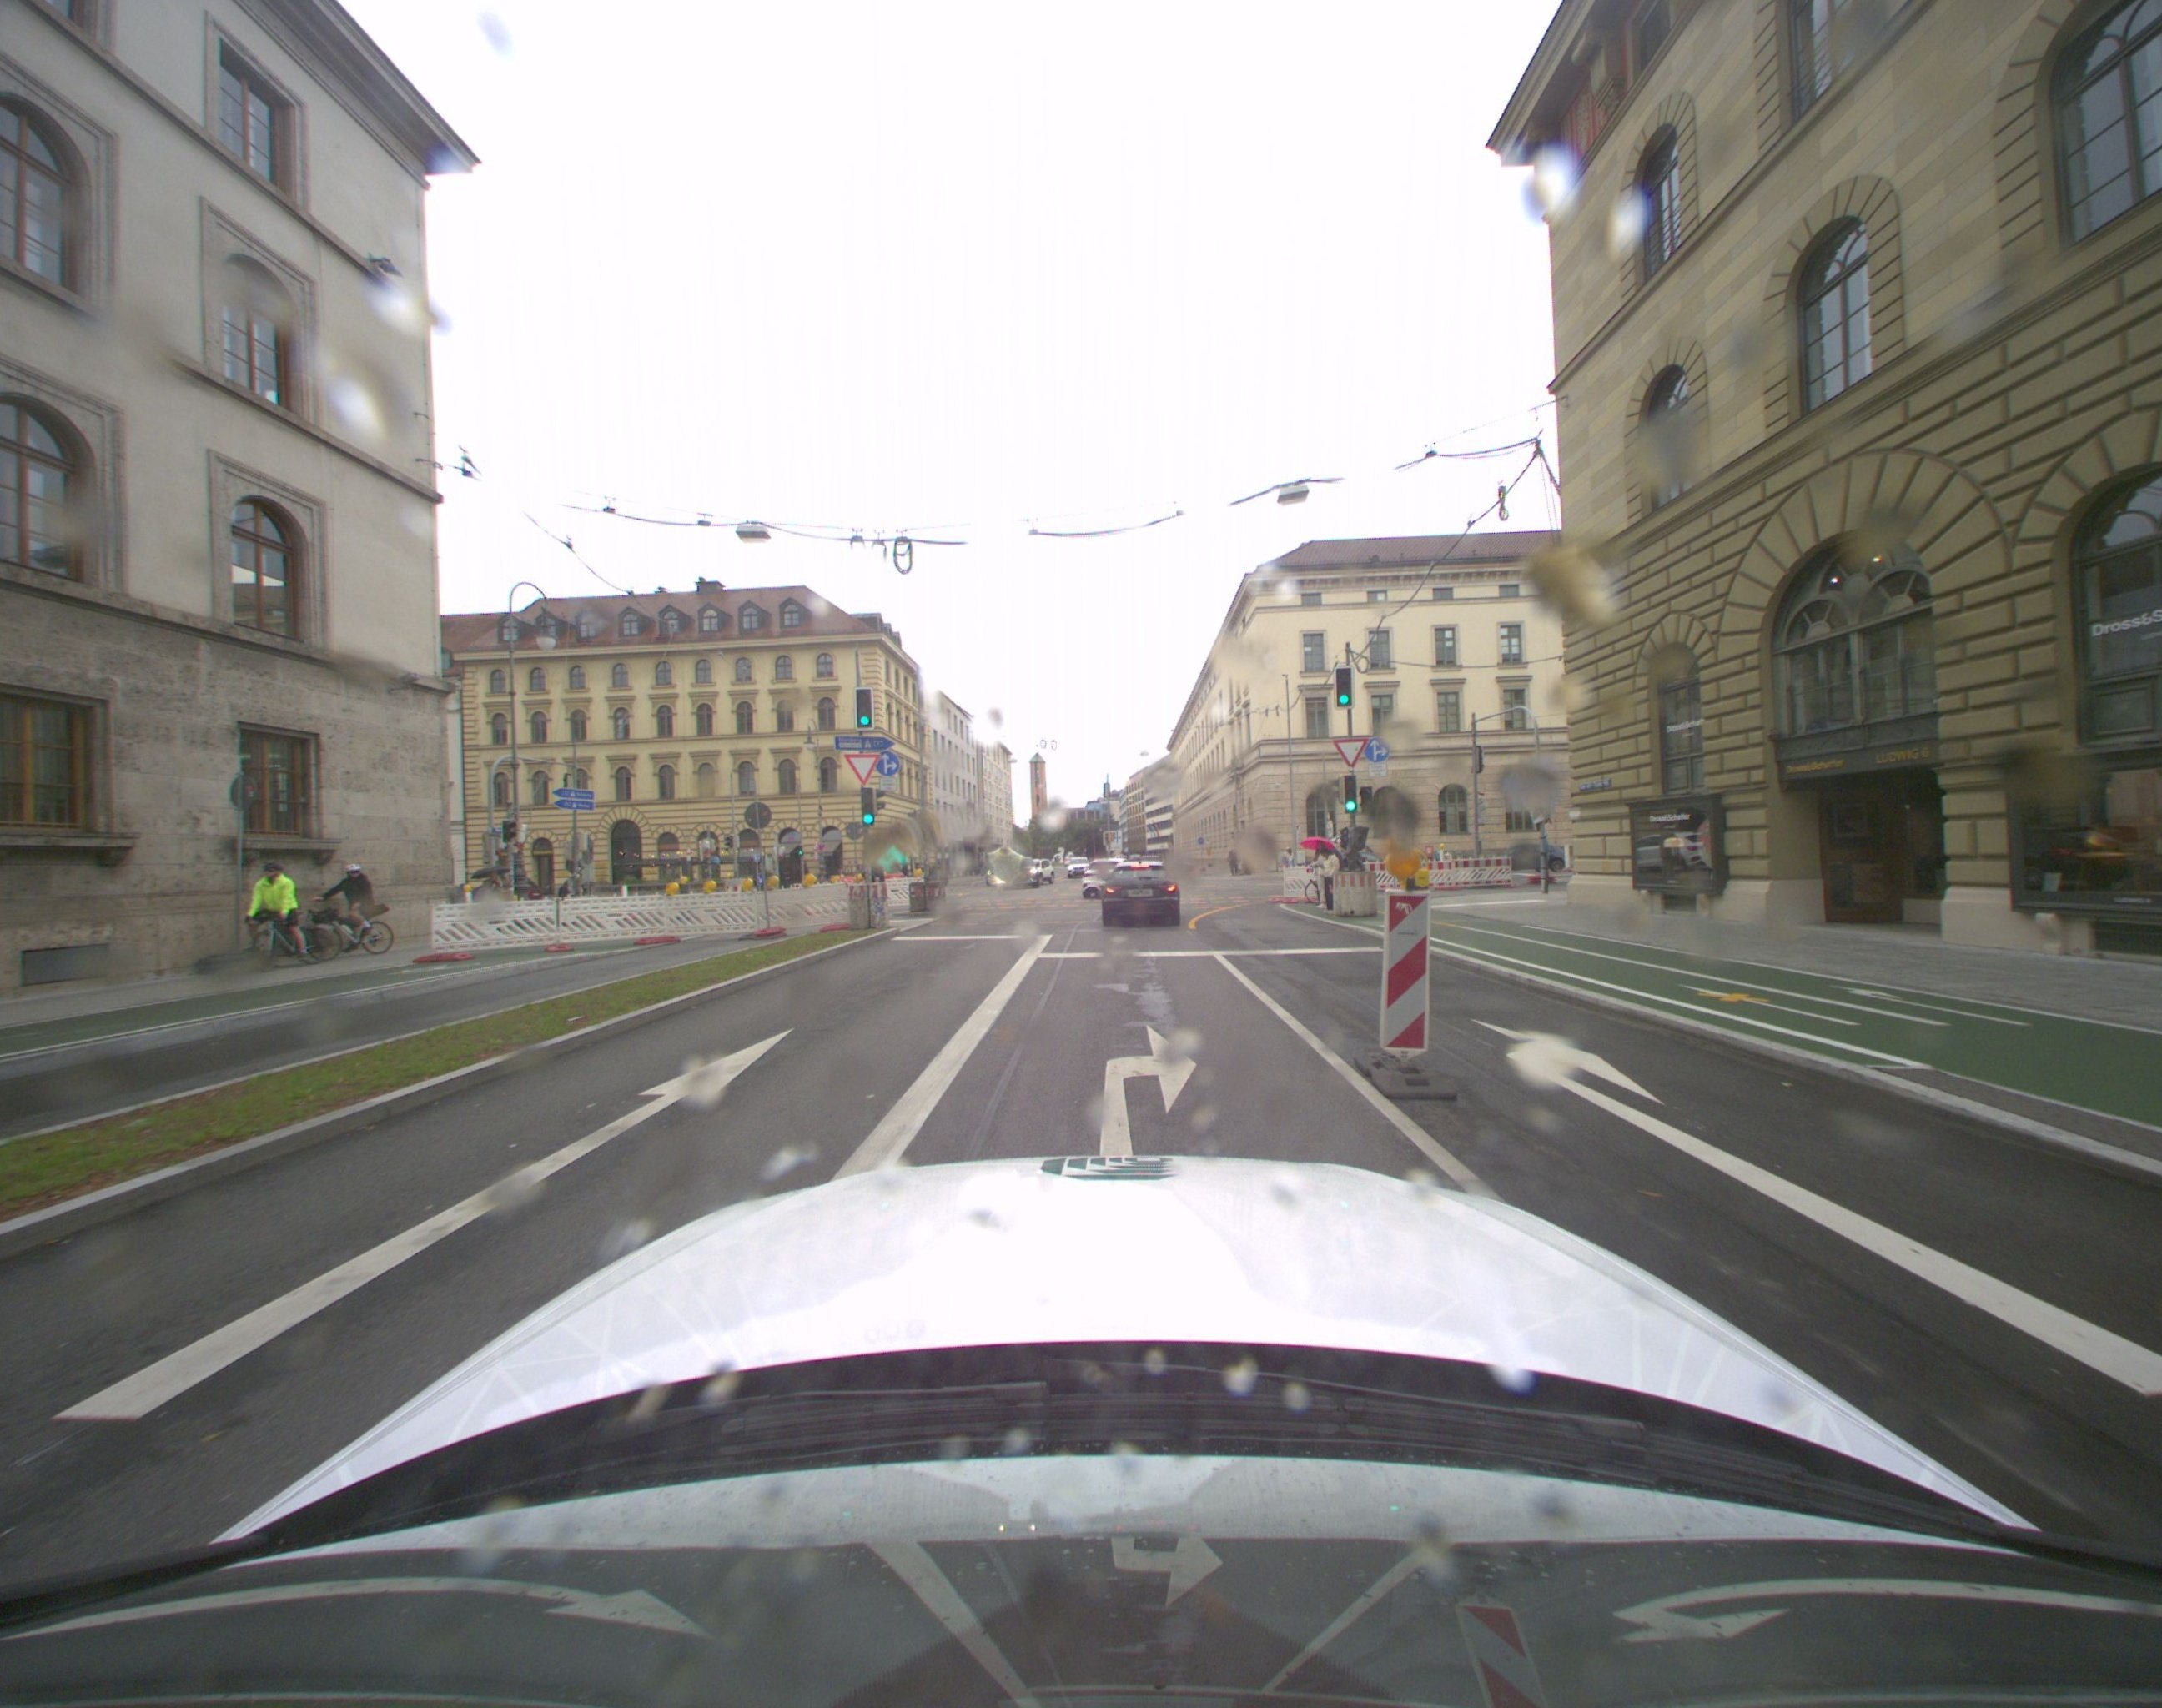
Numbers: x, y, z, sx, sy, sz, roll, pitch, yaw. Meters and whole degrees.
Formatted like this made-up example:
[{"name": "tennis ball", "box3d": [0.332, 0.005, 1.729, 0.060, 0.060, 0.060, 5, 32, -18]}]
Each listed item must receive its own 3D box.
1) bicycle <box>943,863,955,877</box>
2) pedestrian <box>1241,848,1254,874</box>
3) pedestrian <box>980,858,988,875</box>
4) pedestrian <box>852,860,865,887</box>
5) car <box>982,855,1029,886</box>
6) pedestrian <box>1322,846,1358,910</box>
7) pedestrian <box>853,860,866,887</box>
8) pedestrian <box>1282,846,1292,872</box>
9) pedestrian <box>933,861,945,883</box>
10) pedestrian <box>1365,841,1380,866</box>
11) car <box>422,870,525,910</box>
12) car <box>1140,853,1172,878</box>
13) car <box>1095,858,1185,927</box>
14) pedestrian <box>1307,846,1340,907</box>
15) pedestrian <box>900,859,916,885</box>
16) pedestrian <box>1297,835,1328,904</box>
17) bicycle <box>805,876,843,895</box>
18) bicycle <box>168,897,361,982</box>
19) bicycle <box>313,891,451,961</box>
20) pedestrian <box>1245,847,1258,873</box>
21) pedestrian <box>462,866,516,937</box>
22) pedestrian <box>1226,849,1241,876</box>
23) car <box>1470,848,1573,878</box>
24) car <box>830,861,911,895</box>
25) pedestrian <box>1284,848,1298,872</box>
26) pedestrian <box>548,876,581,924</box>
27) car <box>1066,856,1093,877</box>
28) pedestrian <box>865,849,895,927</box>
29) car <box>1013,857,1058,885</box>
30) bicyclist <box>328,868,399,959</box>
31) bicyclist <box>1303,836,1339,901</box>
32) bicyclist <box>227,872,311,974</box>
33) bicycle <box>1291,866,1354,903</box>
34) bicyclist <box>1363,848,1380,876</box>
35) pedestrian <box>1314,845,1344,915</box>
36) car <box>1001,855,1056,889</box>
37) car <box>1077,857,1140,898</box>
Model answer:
[{"name": "bicycle", "box3d": [-12.459, 1.515, 77.066, 0.595, 1.242, 2.201, -1, -1, 4]}, {"name": "pedestrian", "box3d": [11.226, 0.451, 54.891, 0.578, 1.755, 0.825, -1, 0, 33]}, {"name": "pedestrian", "box3d": [-10.600, 1.357, 89.211, 0.734, 1.772, 0.736, -1, 0, 1]}, {"name": "pedestrian", "box3d": [-14.781, 1.285, 54.139, 0.733, 1.772, 0.737, -1, 0, -8]}, {"name": "car", "box3d": [-5.331, 1.109, 58.137, 2.225, 2.013, 4.461, -2, 0, 8]}, {"name": "pedestrian", "box3d": [6.472, 0.588, 20.367, 0.699, 1.567, 0.682, -1, 0, 4]}, {"name": "pedestrian", "box3d": [-14.896, 1.283, 54.864, 0.733, 1.772, 0.737, -1, 0, -8]}, {"name": "pedestrian", "box3d": [13.629, 0.329, 53.854, 0.612, 1.671, 0.543, -1, 0, 9]}, {"name": "pedestrian", "box3d": [-11.538, 1.452, 66.235, 0.734, 1.772, 0.736, -1, 0, 1]}, {"name": "pedestrian", "box3d": [19.355, -0.035, 54.009, 0.712, 1.694, 0.821, -1, 0, 3]}, {"name": "car", "box3d": [-31.041, 1.813, 41.704, 3.736, 1.798, 1.864, -2, -1, -6]}, {"name": "car", "box3d": [5.143, 0.753, 56.301, 1.858, 1.601, 3.852, -2, 0, 1]}, {"name": "car", "box3d": [1.304, 0.813, 19.159, 1.856, 1.388, 4.002, -1, 0, 2]}, {"name": "pedestrian", "box3d": [6.380, 0.592, 21.411, 0.699, 1.567, 0.585, -1, 0, 4]}, {"name": "pedestrian", "box3d": [-11.819, 1.231, 55.597, 0.727, 1.772, 0.743, -1, 0, 23]}, {"name": "pedestrian", "box3d": [6.450, 0.424, 22.722, 0.699, 1.885, 0.642, -1, 0, 6]}, {"name": "bicycle", "box3d": [-16.297, 2.009, 51.648, 2.201, 1.099, 0.595, -2, -1, -23]}, {"name": "bicycle", "box3d": [-14.434, 1.466, 14.539, 0.783, 1.242, 2.453, -1, 0, 6]}, {"name": "bicycle", "box3d": [-14.438, 1.446, 16.918, 0.783, 1.242, 2.203, -1, 0, 6]}, {"name": "pedestrian", "box3d": [11.665, 0.411, 55.559, 0.578, 1.755, 0.825, -1, 0, 33]}, {"name": "pedestrian", "box3d": [-15.228, 1.201, 20.958, 0.836, 1.772, 0.743, -1, 0, 20]}, {"name": "pedestrian", "box3d": [10.207, 0.582, 54.509, 0.811, 1.755, 0.683, -1, 0, 18]}, {"name": "car", "box3d": [21.980, 0.465, 40.732, 4.211, 1.388, 1.750, -1, -2, 1]}, {"name": "car", "box3d": [-11.897, 1.356, 46.174, 4.017, 1.720, 1.804, -2, 0, -35]}, {"name": "pedestrian", "box3d": [13.700, 0.394, 53.096, 0.812, 1.557, 0.669, -1, 0, 9]}, {"name": "pedestrian", "box3d": [-19.685, 1.749, 31.039, 0.733, 1.772, 0.737, -1, 0, 3]}, {"name": "car", "box3d": [-0.112, 0.967, 64.818, 1.986, 1.524, 4.234, -2, 0, 1]}, {"name": "pedestrian", "box3d": [-4.659, 0.772, 18.925, 0.512, 1.743, 1.040, -2, 0, -8]}, {"name": "car", "box3d": [-2.882, 1.073, 52.787, 1.781, 1.677, 4.247, -3, 0, 12]}, {"name": "bicyclist", "box3d": [-14.488, 1.194, 16.460, 0.794, 1.776, 0.690, -1, 0, 5]}, {"name": "bicyclist", "box3d": [6.926, 0.408, 23.523, 0.789, 1.854, 0.571, -1, 0, 44]}, {"name": "bicyclist", "box3d": [-14.443, 1.209, 14.497, 0.794, 1.748, 0.690, -1, 0, 5]}, {"name": "bicycle", "box3d": [6.951, 0.863, 23.506, 1.636, 1.011, 0.590, -1, 0, 44]}, {"name": "bicyclist", "box3d": [17.530, 0.477, 49.117, 0.740, 1.615, 0.796, -1, 0, 5]}, {"name": "pedestrian", "box3d": [5.907, 0.607, 19.429, 0.529, 1.620, 0.674, -1, 0, 4]}, {"name": "car", "box3d": [-2.857, 0.965, 45.533, 1.982, 1.734, 4.598, -3, 0, 10]}, {"name": "car", "box3d": [1.135, 0.836, 31.059, 1.802, 1.424, 4.464, -1, 0, 10]}]
